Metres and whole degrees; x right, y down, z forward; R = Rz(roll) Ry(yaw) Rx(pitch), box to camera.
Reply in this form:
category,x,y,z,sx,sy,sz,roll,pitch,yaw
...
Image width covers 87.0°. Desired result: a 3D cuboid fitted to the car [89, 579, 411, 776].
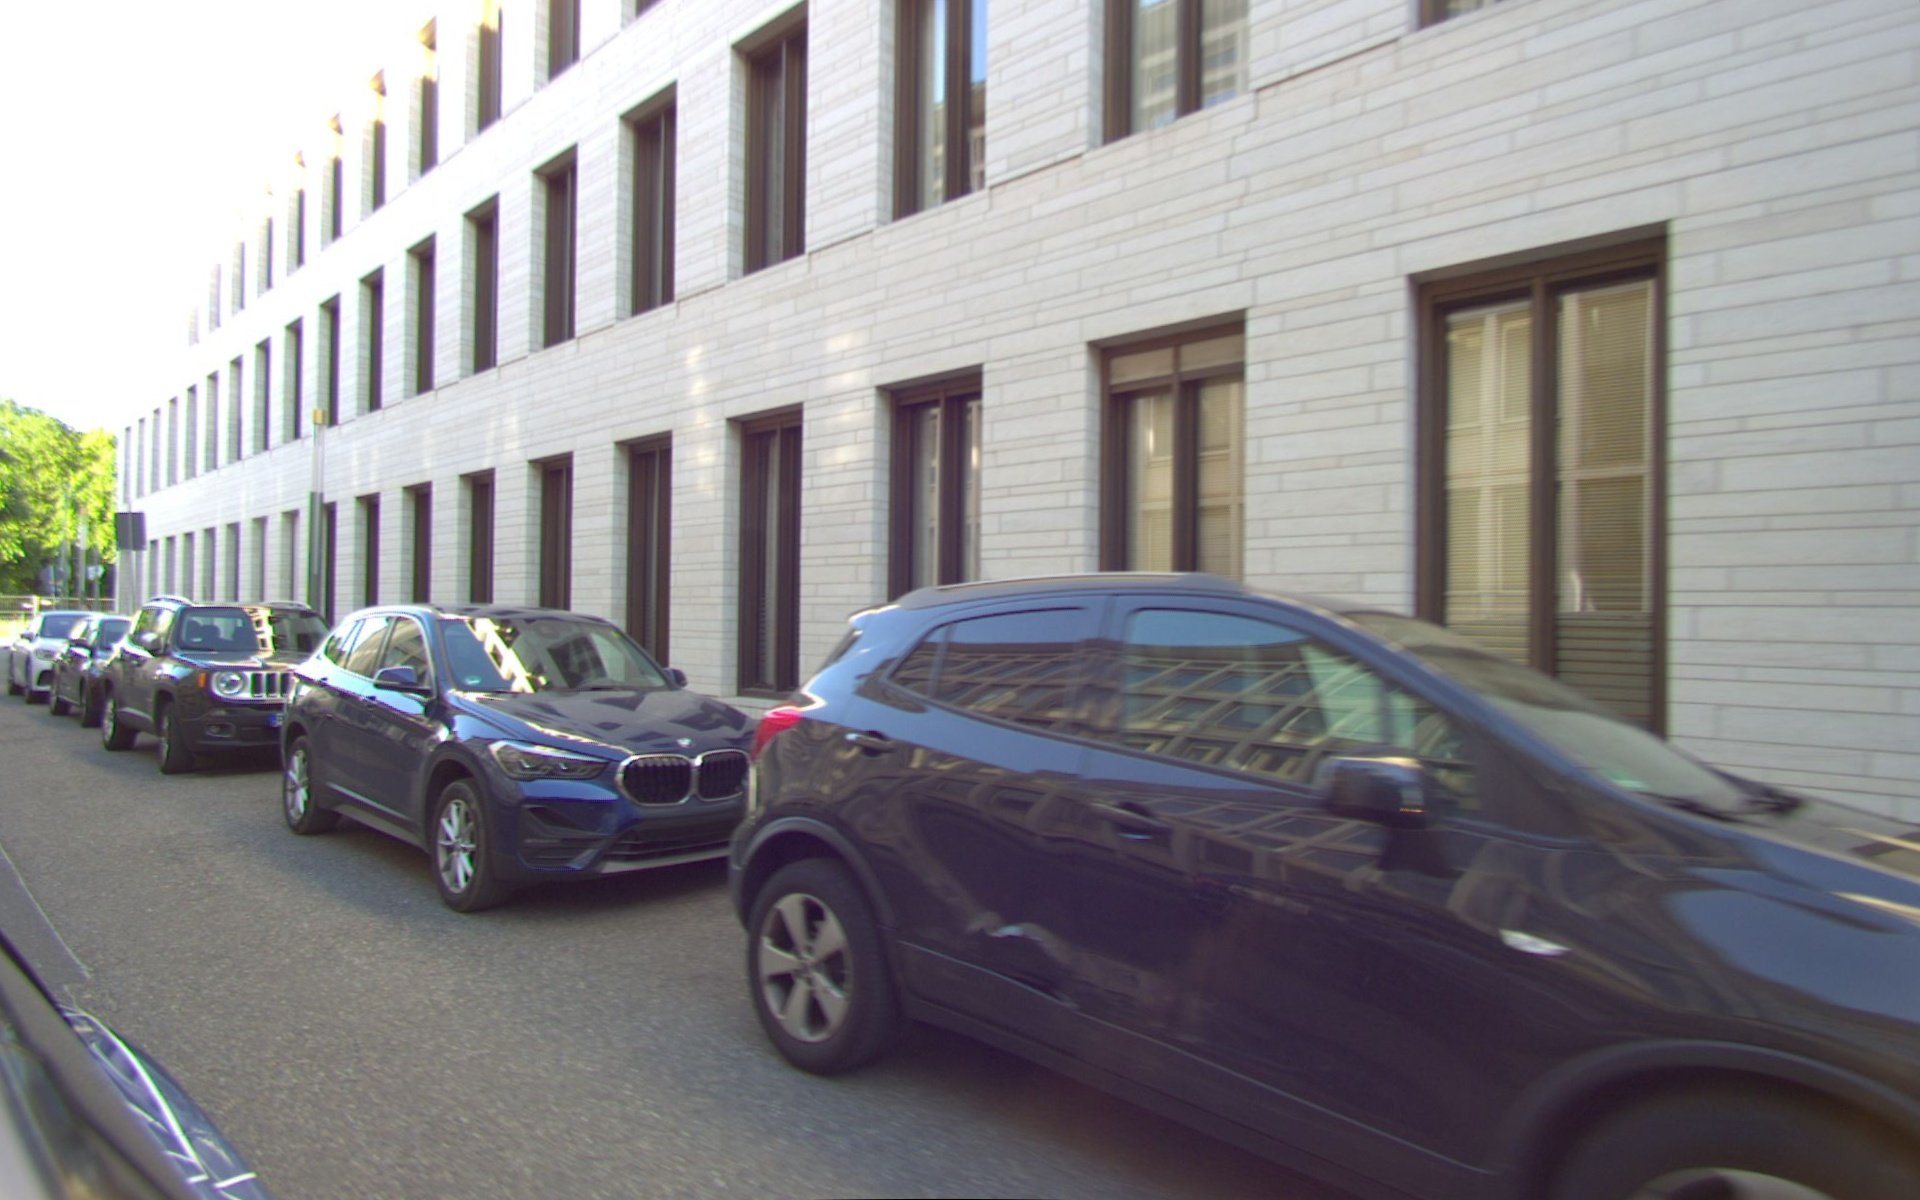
category,x,y,z,sx,sy,sz,roll,pitch,yaw
car,-7.714,0.755,10.869,4.015,1.728,1.804,-1,-4,40

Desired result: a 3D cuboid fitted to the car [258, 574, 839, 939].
category,x,y,z,sx,sy,sz,roll,pitch,yaw
car,-2.838,0.765,6.510,4.151,1.607,1.721,-1,-4,41

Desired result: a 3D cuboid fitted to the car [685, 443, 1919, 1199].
category,x,y,z,sx,sy,sz,roll,pitch,yaw
car,1.166,0.675,2.994,4.264,1.690,1.802,-1,-4,43

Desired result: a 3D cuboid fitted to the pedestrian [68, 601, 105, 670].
category,x,y,z,sx,sy,sz,roll,pitch,yaw
pedestrian,-23.365,0.931,27.077,0.816,1.803,0.636,0,0,42

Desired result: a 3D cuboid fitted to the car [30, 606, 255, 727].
category,x,y,z,sx,sy,sz,roll,pitch,yaw
car,-12.202,0.896,15.017,4.260,1.553,1.804,-1,-2,40

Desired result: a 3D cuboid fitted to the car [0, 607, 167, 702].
category,x,y,z,sx,sy,sz,roll,pitch,yaw
car,-16.268,0.964,18.658,4.445,1.553,1.803,-1,-3,42
